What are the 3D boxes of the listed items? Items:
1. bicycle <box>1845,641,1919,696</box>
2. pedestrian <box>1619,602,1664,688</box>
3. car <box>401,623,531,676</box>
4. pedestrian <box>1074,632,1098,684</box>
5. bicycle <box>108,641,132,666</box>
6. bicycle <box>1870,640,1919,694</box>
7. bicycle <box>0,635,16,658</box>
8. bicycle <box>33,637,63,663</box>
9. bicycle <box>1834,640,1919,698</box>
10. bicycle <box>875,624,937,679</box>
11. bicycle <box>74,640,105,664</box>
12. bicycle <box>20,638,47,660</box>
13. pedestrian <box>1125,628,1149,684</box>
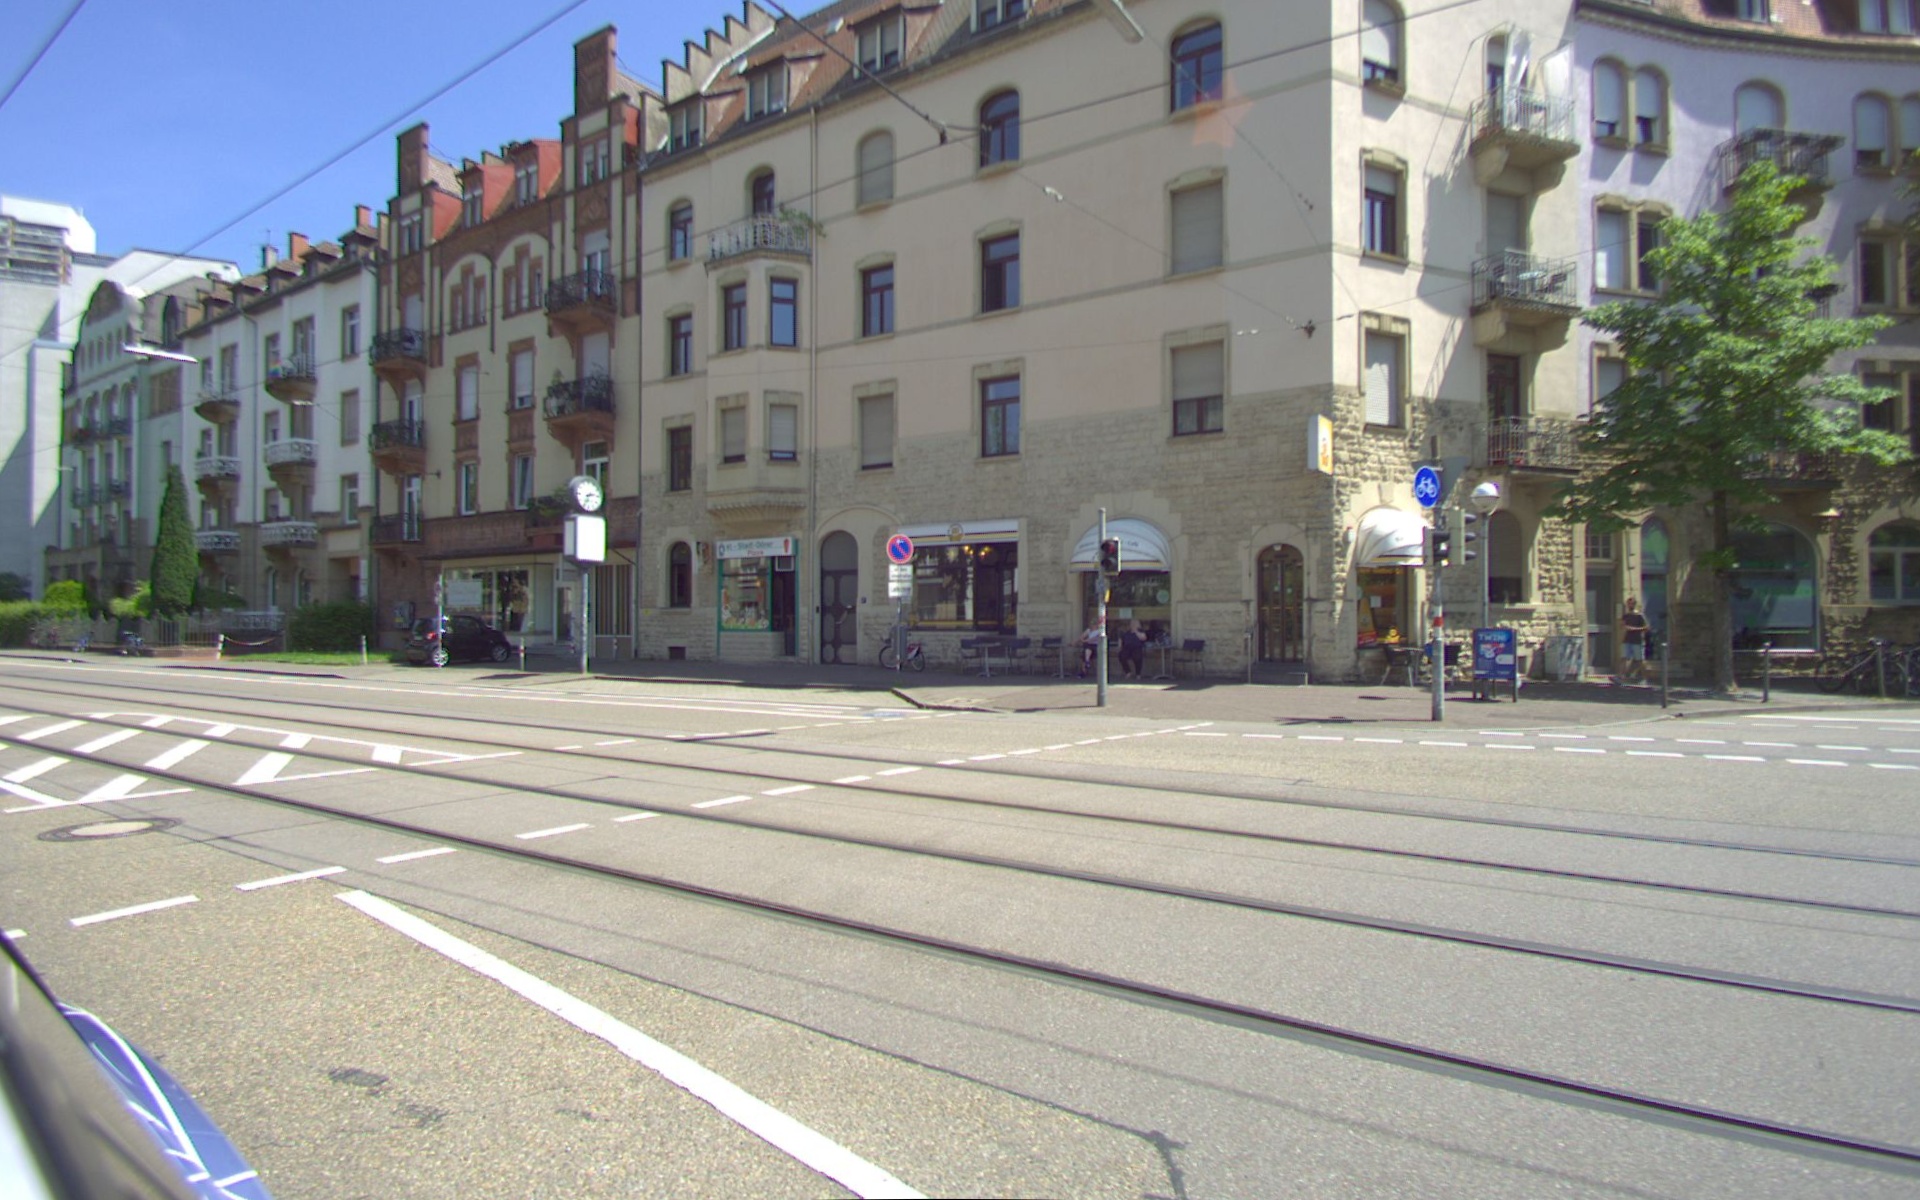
[{"bbox_3d":[17.882,1.293,19.267,0.285,0.981,1.677,0,0,-15],"label":"bicycle"},{"bbox_3d":[14.061,0.916,20.884,0.725,1.744,0.540,0,-1,31],"label":"pedestrian"},{"bbox_3d":[-15.417,1.495,31.704,1.527,1.483,3.323,-1,0,37],"label":"car"},{"bbox_3d":[2.703,1.235,21.736,0.404,1.097,0.352,0,-1,30],"label":"pedestrian"},{"bbox_3d":[-32.894,2.083,39.618,1.610,0.924,0.250,-1,-1,33],"label":"bicycle"},{"bbox_3d":[18.302,1.285,19.189,0.285,0.981,1.677,0,0,-15],"label":"bicycle"},{"bbox_3d":[-46.252,2.259,49.070,1.894,1.054,0.287,0,-1,34],"label":"bicycle"},{"bbox_3d":[-40.089,2.188,44.484,2.041,1.105,0.488,-1,-1,33],"label":"bicycle"},{"bbox_3d":[17.215,1.262,18.748,0.285,0.981,1.677,0,0,-15],"label":"bicycle"},{"bbox_3d":[-1.342,1.236,24.774,0.448,1.234,2.084,0,0,-37],"label":"bicycle"},{"bbox_3d":[-35.913,2.132,41.741,1.949,0.955,0.458,-1,-1,33],"label":"bicycle"},{"bbox_3d":[-41.869,2.200,45.721,2.041,0.978,0.396,-1,-1,33],"label":"bicycle"},{"bbox_3d":[3.731,1.168,21.344,0.404,1.157,0.402,0,-1,30],"label":"pedestrian"}]
